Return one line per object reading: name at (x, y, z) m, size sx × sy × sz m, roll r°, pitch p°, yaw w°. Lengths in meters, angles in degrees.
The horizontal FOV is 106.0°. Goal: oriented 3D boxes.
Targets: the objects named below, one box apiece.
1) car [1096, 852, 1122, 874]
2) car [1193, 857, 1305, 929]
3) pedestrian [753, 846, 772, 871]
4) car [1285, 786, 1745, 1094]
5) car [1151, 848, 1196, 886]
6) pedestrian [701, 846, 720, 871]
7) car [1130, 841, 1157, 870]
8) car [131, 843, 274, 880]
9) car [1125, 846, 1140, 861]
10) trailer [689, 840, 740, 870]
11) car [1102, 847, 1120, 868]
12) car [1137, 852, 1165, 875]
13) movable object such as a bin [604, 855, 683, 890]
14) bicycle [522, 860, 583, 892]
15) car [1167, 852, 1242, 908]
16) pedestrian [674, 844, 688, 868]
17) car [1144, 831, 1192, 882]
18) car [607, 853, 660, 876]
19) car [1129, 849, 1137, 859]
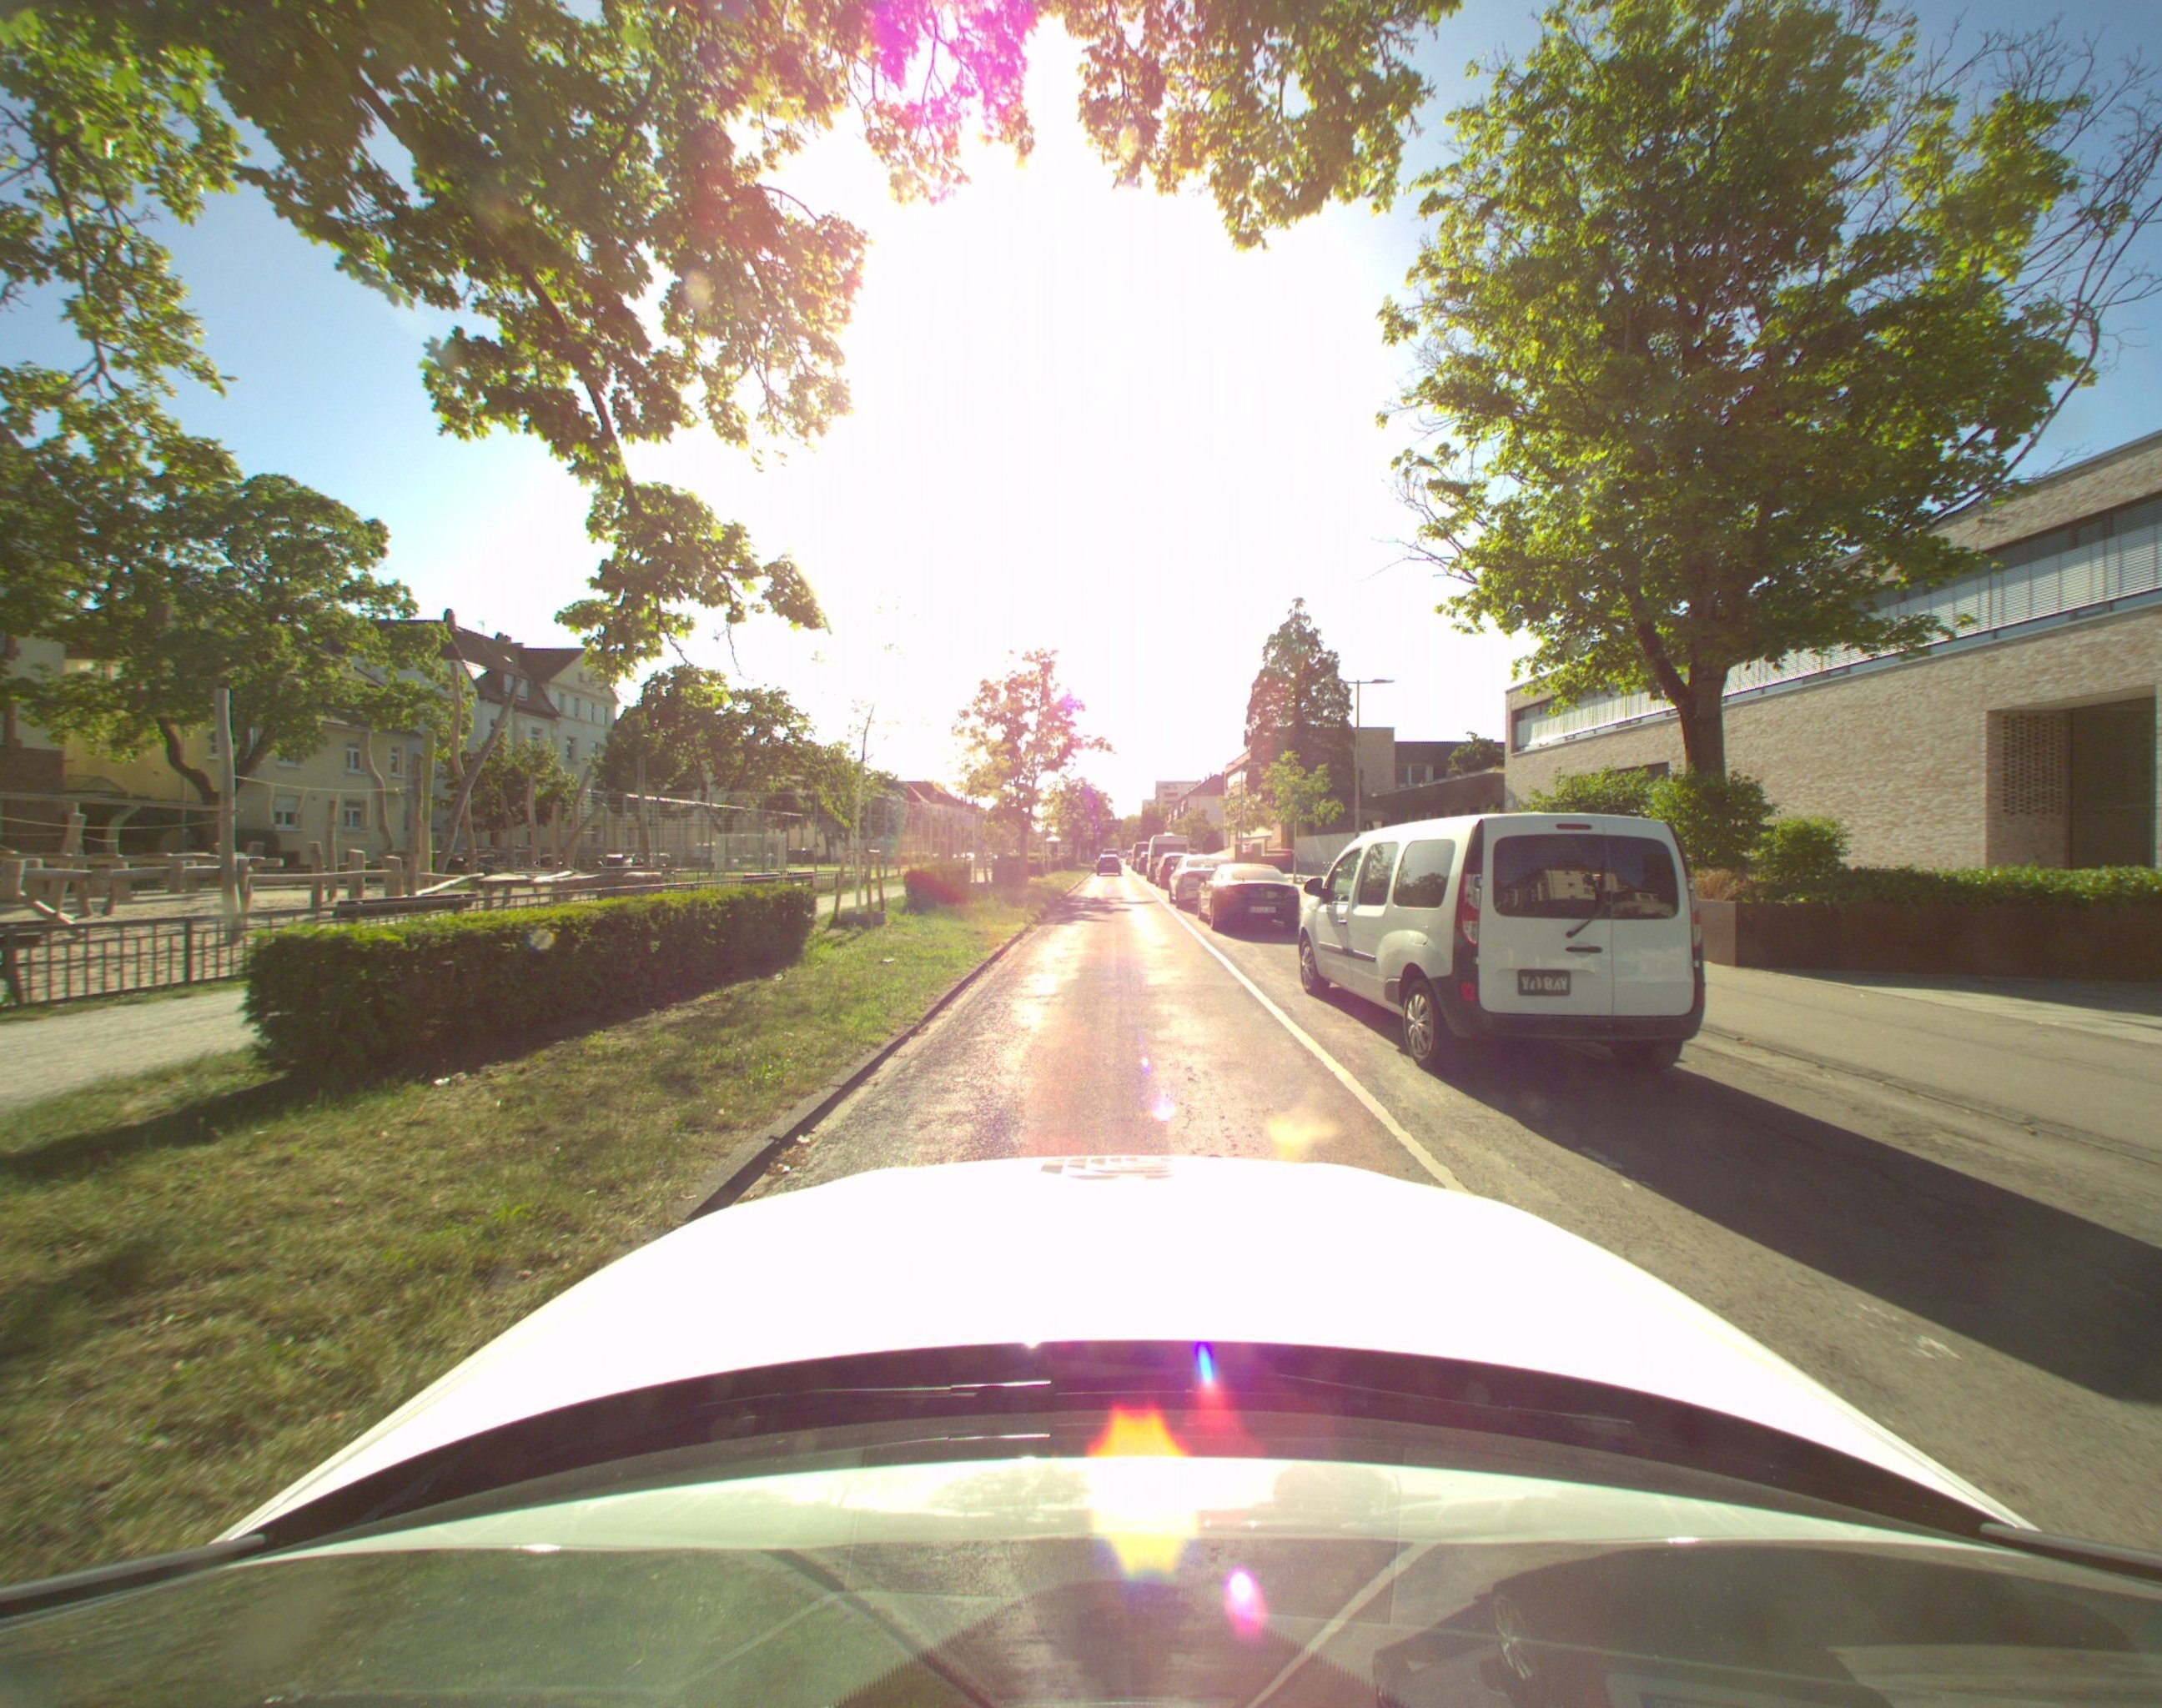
car at (2.018, 0.637, 58.265) m, size 1.787 × 1.510 × 4.003 m, roll 0°, pitch 0°, yaw 3°
car at (3.477, 0.744, 17.558) m, size 1.695 × 1.325 × 4.131 m, roll 1°, pitch 0°, yaw 2°
pedestrian at (-17.085, 0.231, 43.708) m, size 0.642 × 1.318 × 0.654 m, roll 0°, pitch 0°, yaw 31°
car at (3.277, 0.532, 7.327) m, size 1.802 × 1.908 × 4.461 m, roll 1°, pitch 0°, yaw 1°
car at (4.070, 0.551, 36.282) m, size 1.614 × 1.588 × 3.591 m, roll 0°, pitch 0°, yaw 0°
pedestrian at (-19.505, 0.219, 42.837) m, size 0.642 × 1.318 × 0.654 m, roll 0°, pitch 0°, yaw 31°
car at (5.619, 0.110, 73.772) m, size 2.108 × 2.515 × 6.533 m, roll 0°, pitch 0°, yaw 1°
car at (-38.048, 0.291, 35.434) m, size 1.787 × 1.510 × 4.002 m, roll 0°, pitch 0°, yaw 2°
car at (6.802, -0.081, 107.325) m, size 1.786 × 1.855 × 4.418 m, roll 0°, pitch 0°, yaw 4°
trailer at (-36.494, 0.104, 81.260) m, size 2.334 × 2.870 × 5.804 m, roll 0°, pitch 0°, yaw 1°
car at (3.118, 0.347, 83.701) m, size 1.787 × 2.122 × 4.003 m, roll 0°, pitch 0°, yaw 3°
car at (5.278, 0.708, 61.643) m, size 1.839 × 1.640 × 4.505 m, roll 0°, pitch 0°, yaw 1°
movable object such as a bin at (-16.153, 0.667, 30.124) m, size 2.324 × 1.242 × 1.055 m, roll -1°, pitch 0°, yaw -2°
bicycle at (-18.584, 0.781, 28.647) m, size 1.788 × 1.107 × 0.500 m, roll 0°, pitch 0°, yaw 0°
car at (3.495, 0.688, 23.697) m, size 1.695 × 1.478 × 4.176 m, roll 1°, pitch 0°, yaw 2°
pedestrian at (-28.357, 0.139, 57.797) m, size 0.645 × 1.661 × 0.650 m, roll -1°, pitch 0°, yaw 2°
car at (4.636, 0.134, 44.005) m, size 2.232 × 2.574 × 5.436 m, roll 1°, pitch 0°, yaw 2°
car at (-36.814, 0.812, 67.129) m, size 1.787 × 1.777 × 4.491 m, roll 0°, pitch 0°, yaw 2°
car at (13.082, -0.022, 205.738) m, size 1.985 × 2.430 × 4.503 m, roll 2°, pitch 0°, yaw 3°
